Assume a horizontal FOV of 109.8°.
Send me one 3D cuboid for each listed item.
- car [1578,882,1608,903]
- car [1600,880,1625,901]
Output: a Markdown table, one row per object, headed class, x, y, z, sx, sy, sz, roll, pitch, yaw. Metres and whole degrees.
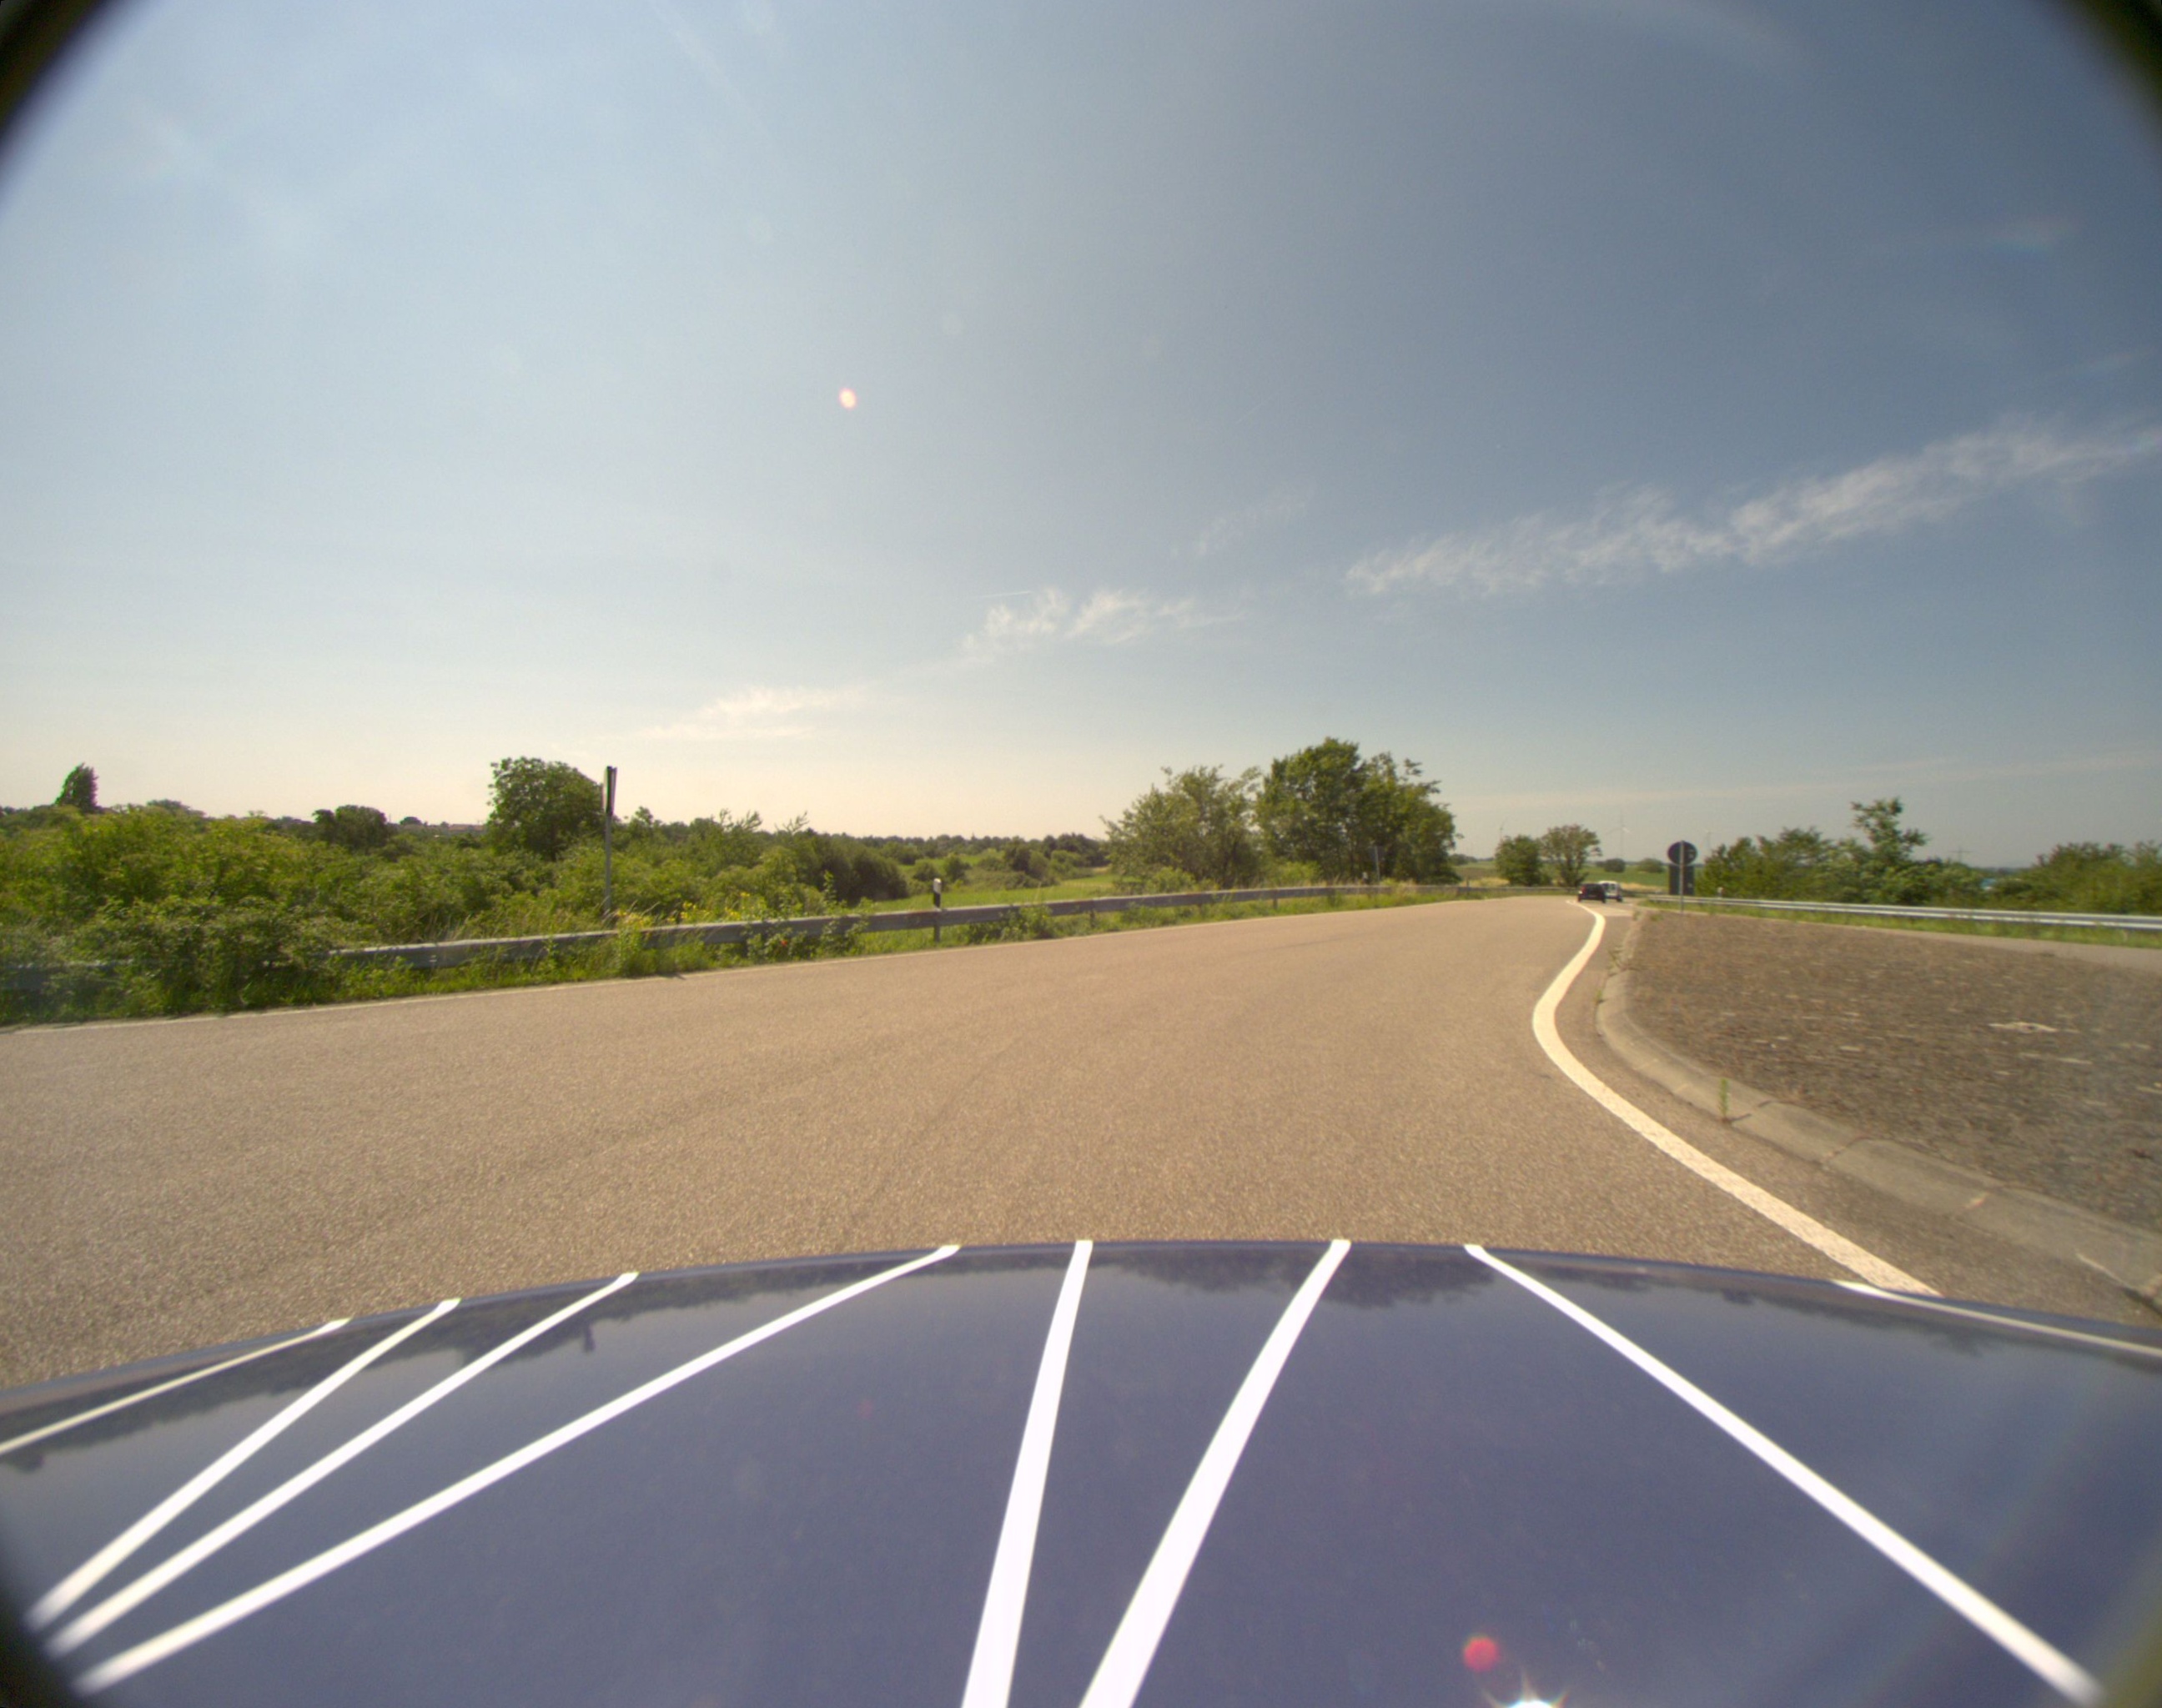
| class | x | y | z | sx | sy | sz | roll | pitch | yaw |
| --- | --- | --- | --- | --- | --- | --- | --- | --- | --- |
| car | 37.837 | 2.868 | 56.216 | 1.708 | 1.387 | 3.897 | 3 | -1 | 33 |
| car | 47.102 | 3.225 | 67.330 | 1.737 | 1.750 | 4.093 | 2 | -1 | 35 |
